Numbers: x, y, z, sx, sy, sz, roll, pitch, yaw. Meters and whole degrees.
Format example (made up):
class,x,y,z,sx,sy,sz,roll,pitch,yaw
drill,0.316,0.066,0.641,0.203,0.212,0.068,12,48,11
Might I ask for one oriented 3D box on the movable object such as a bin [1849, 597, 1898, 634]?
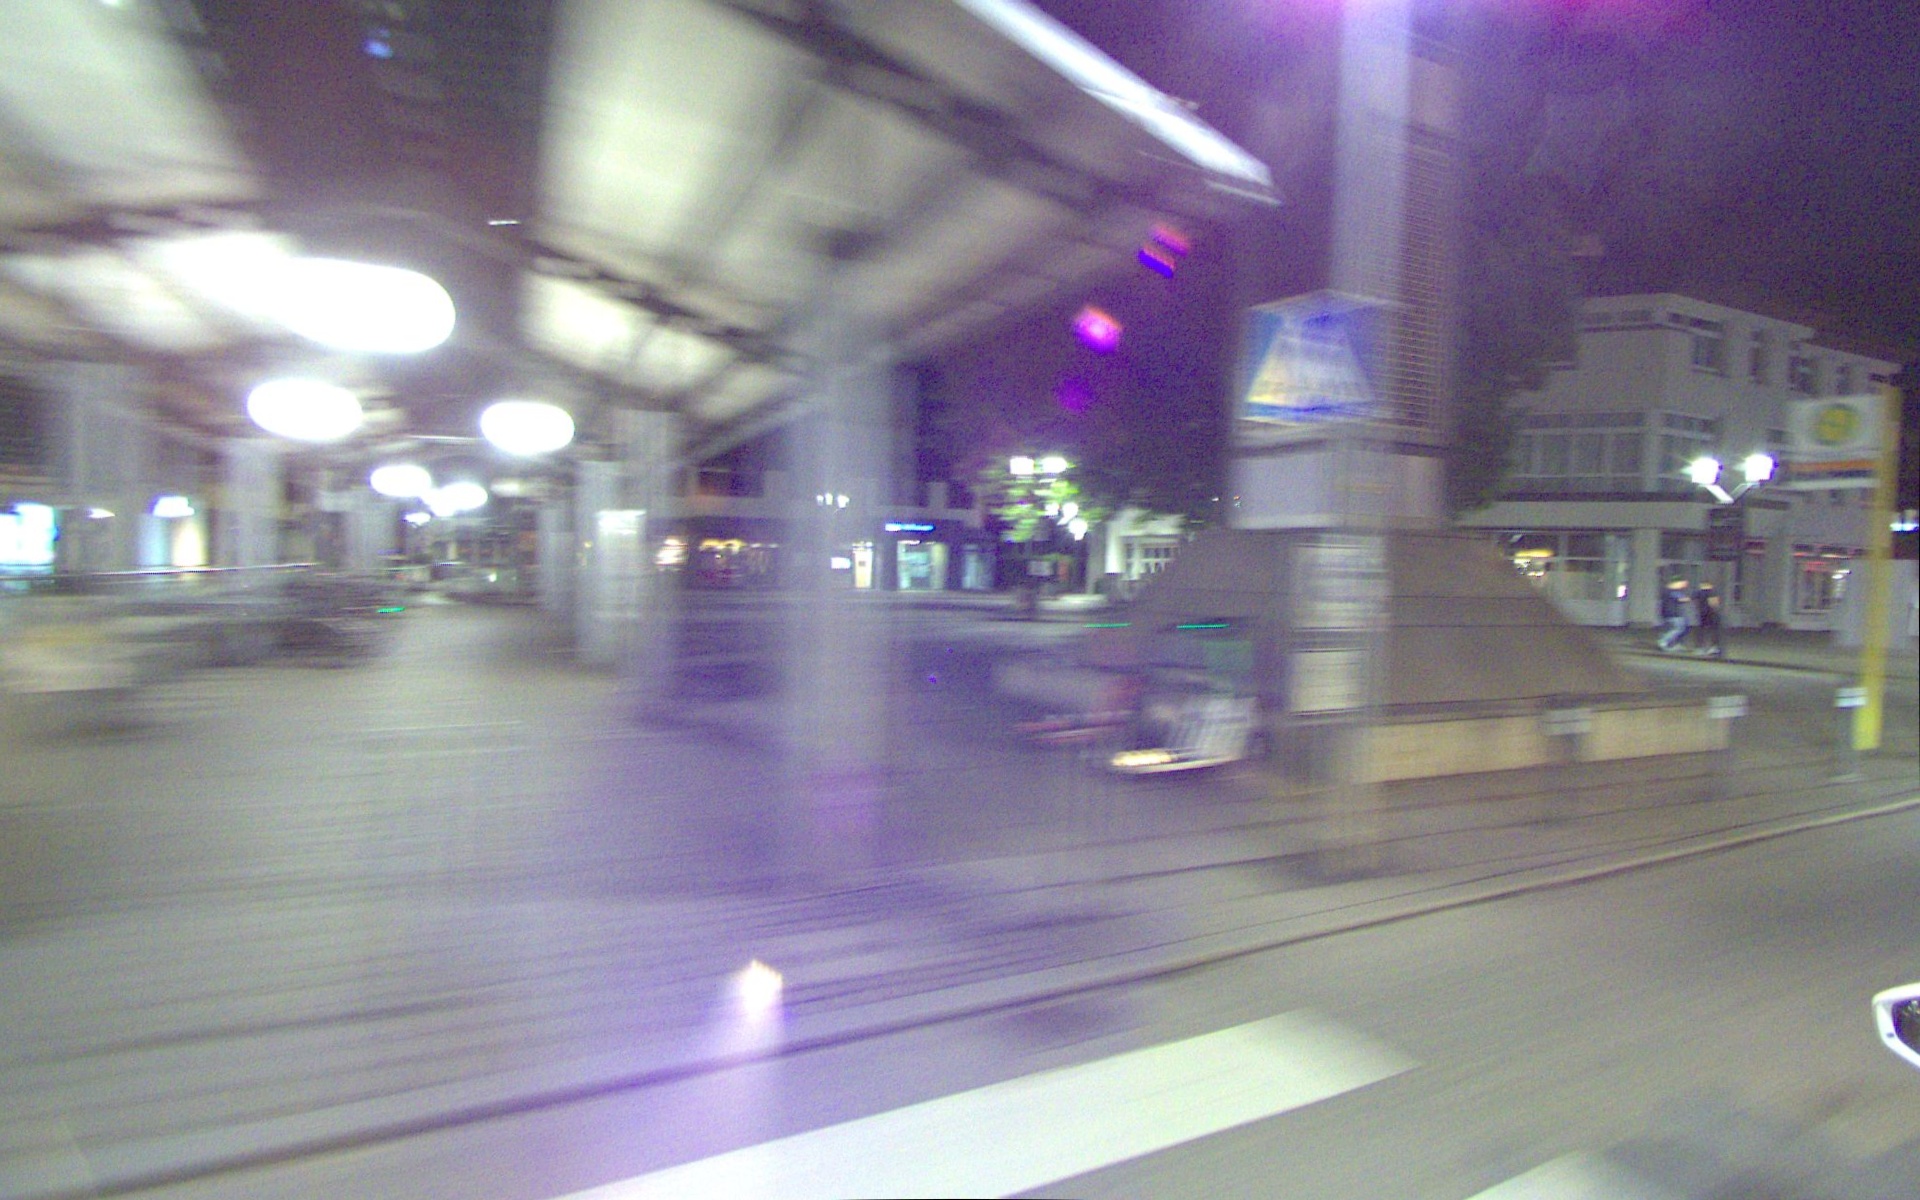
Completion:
class,x,y,z,sx,sy,sz,roll,pitch,yaw
movable object such as a bin,38.051,0.643,41.844,1.270,1.463,1.032,2,2,-27

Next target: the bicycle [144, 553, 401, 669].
class,x,y,z,sx,sy,sz,roll,pitch,yaw
bicycle,-8.121,0.148,12.042,2.437,1.271,0.854,2,1,-30

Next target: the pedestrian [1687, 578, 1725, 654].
class,x,y,z,sx,sy,sz,roll,pitch,yaw
pedestrian,18.629,0.393,25.090,0.494,1.846,0.502,2,1,-4

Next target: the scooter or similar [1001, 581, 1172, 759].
class,x,y,z,sx,sy,sz,roll,pitch,yaw
scooter or similar,1.078,0.548,8.532,1.335,1.398,0.593,0,2,-29

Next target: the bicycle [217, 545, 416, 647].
class,x,y,z,sx,sy,sz,roll,pitch,yaw
bicycle,-9.431,-0.037,14.859,2.385,1.382,0.759,2,1,-30

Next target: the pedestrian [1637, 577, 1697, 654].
class,x,y,z,sx,sy,sz,roll,pitch,yaw
pedestrian,17.929,0.385,25.494,0.775,1.856,0.880,2,3,-2

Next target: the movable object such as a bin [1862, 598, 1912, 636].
class,x,y,z,sx,sy,sz,roll,pitch,yaw
movable object such as a bin,39.183,0.714,42.456,1.212,1.477,1.127,2,2,-27

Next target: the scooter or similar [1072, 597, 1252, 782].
class,x,y,z,sx,sy,sz,roll,pitch,yaw
scooter or similar,1.549,0.640,7.633,1.430,1.306,0.315,0,3,-28

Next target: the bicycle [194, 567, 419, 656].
class,x,y,z,sx,sy,sz,roll,pitch,yaw
bicycle,-8.727,0.173,13.571,2.454,1.101,0.854,2,1,-30

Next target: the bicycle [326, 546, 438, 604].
class,x,y,z,sx,sy,sz,roll,pitch,yaw
bicycle,-15.172,-0.647,26.420,2.481,1.382,0.769,2,1,-30

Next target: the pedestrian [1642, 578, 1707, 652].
class,x,y,z,sx,sy,sz,roll,pitch,yaw
pedestrian,18.585,0.379,26.131,1.005,1.842,0.793,2,3,-8

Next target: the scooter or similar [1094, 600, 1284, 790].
class,x,y,z,sx,sy,sz,roll,pitch,yaw
scooter or similar,1.692,0.653,7.368,1.430,1.281,0.367,0,3,-28
